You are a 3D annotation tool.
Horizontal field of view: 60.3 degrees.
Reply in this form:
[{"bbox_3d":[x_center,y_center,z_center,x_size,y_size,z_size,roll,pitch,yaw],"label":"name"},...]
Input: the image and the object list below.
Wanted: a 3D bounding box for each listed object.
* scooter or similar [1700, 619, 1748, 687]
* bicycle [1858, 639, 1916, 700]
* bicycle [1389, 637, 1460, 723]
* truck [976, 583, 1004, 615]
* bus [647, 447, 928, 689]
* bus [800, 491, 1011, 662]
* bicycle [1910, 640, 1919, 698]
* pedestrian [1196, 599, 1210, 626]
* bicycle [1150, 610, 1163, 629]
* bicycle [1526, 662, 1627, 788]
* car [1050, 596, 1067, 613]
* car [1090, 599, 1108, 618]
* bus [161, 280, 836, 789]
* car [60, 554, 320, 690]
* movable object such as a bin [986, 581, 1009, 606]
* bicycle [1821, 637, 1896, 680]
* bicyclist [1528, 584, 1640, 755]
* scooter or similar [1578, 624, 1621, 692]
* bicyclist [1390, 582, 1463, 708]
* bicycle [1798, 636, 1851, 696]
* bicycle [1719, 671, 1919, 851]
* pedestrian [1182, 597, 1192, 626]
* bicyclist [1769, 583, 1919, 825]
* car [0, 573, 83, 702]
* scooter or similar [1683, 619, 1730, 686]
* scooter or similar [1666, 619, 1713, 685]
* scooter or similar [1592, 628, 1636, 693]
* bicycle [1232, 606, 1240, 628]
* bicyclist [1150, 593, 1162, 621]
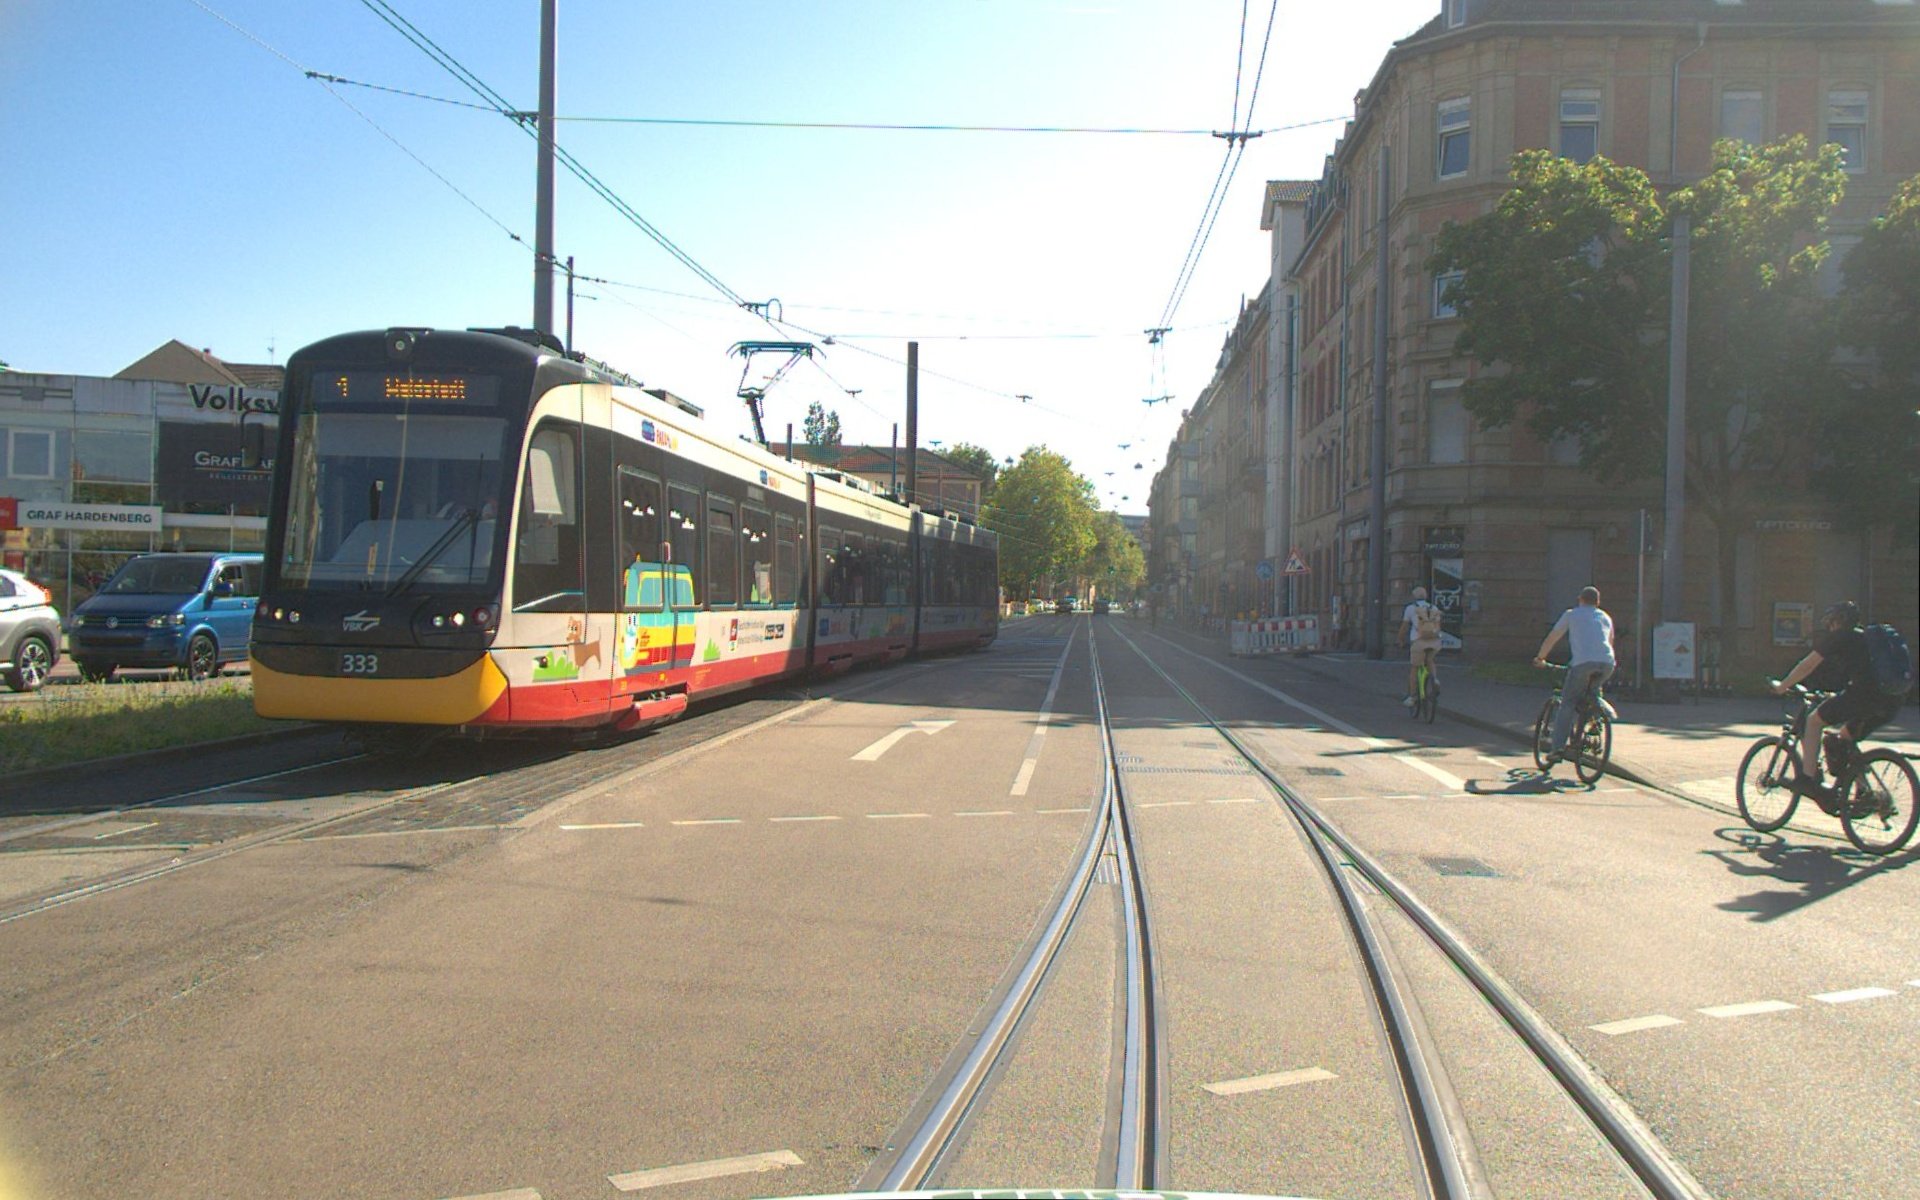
[{"bbox_3d":[14.335,0.977,31.043,0.264,1.217,1.566,3,0,5],"label":"scooter or similar"},{"bbox_3d":[17.393,1.294,31.053,0.394,1.080,1.353,3,0,5],"label":"bicycle"},{"bbox_3d":[6.579,1.115,23.496,0.520,1.137,1.934,3,-1,4],"label":"bicycle"},{"bbox_3d":[2.859,-0.086,157.827,2.486,2.879,6.376,3,0,1],"label":"truck"},{"bbox_3d":[-2.780,-0.508,30.856,2.780,3.652,10.734,2,0,7],"label":"bus"},{"bbox_3d":[-1.050,-0.521,41.744,2.780,3.652,11.280,2,0,11],"label":"bus"},{"bbox_3d":[18.467,1.324,30.927,0.396,1.080,1.349,3,0,-10],"label":"bicycle"},{"bbox_3d":[14.590,0.740,99.267,0.781,1.633,0.653,1,-1,6],"label":"pedestrian"},{"bbox_3d":[12.424,1.247,104.746,0.667,1.134,2.708,3,0,4],"label":"bicycle"},{"bbox_3d":[6.037,1.197,16.282,0.378,1.087,1.935,2,0,4],"label":"bicycle"},{"bbox_3d":[10.973,0.505,183.965,1.722,1.726,4.146,3,0,5],"label":"car"},{"bbox_3d":[15.734,0.930,187.597,1.952,2.049,4.002,3,0,5],"label":"car"},{"bbox_3d":[-3.908,-0.509,18.846,2.781,3.652,13.503,2,0,5],"label":"bus"},{"bbox_3d":[-11.989,0.333,26.080,1.764,1.967,4.168,0,-1,7],"label":"car"},{"bbox_3d":[4.351,-0.703,188.878,2.443,2.691,5.990,3,0,2],"label":"movable object such as a bin"},{"bbox_3d":[20.205,1.309,37.199,1.388,0.871,0.405,3,-1,12],"label":"bicycle"},{"bbox_3d":[6.096,0.660,16.196,0.766,1.621,0.886,1,0,3],"label":"bicyclist"},{"bbox_3d":[12.144,1.090,31.447,0.264,1.241,1.704,3,0,5],"label":"scooter or similar"},{"bbox_3d":[6.599,0.622,23.439,0.667,1.713,1.120,3,-1,2],"label":"bicyclist"},{"bbox_3d":[16.227,1.225,31.069,0.394,1.080,1.484,3,0,10],"label":"bicycle"},{"bbox_3d":[6.355,1.118,12.023,0.522,1.137,1.929,1,-1,-9],"label":"bicycle"},{"bbox_3d":[13.694,0.675,99.909,0.541,1.730,0.474,-1,-1,12],"label":"pedestrian"},{"bbox_3d":[6.414,0.720,11.852,0.612,1.641,0.979,3,-1,-8],"label":"bicyclist"},{"bbox_3d":[-12.839,0.455,20.190,1.764,1.606,4.167,0,-1,5],"label":"car"},{"bbox_3d":[14.012,0.976,31.077,0.264,1.205,1.566,3,0,5],"label":"scooter or similar"},{"bbox_3d":[13.703,0.961,31.092,0.264,1.206,1.566,3,0,5],"label":"scooter or similar"},{"bbox_3d":[12.433,1.139,31.455,0.264,1.177,1.704,3,0,5],"label":"scooter or similar"},{"bbox_3d":[14.328,0.902,85.890,0.401,1.141,1.899,-1,-1,8],"label":"bicycle"},{"bbox_3d":[12.412,0.444,104.793,0.653,1.726,1.043,3,-1,4],"label":"bicyclist"}]
